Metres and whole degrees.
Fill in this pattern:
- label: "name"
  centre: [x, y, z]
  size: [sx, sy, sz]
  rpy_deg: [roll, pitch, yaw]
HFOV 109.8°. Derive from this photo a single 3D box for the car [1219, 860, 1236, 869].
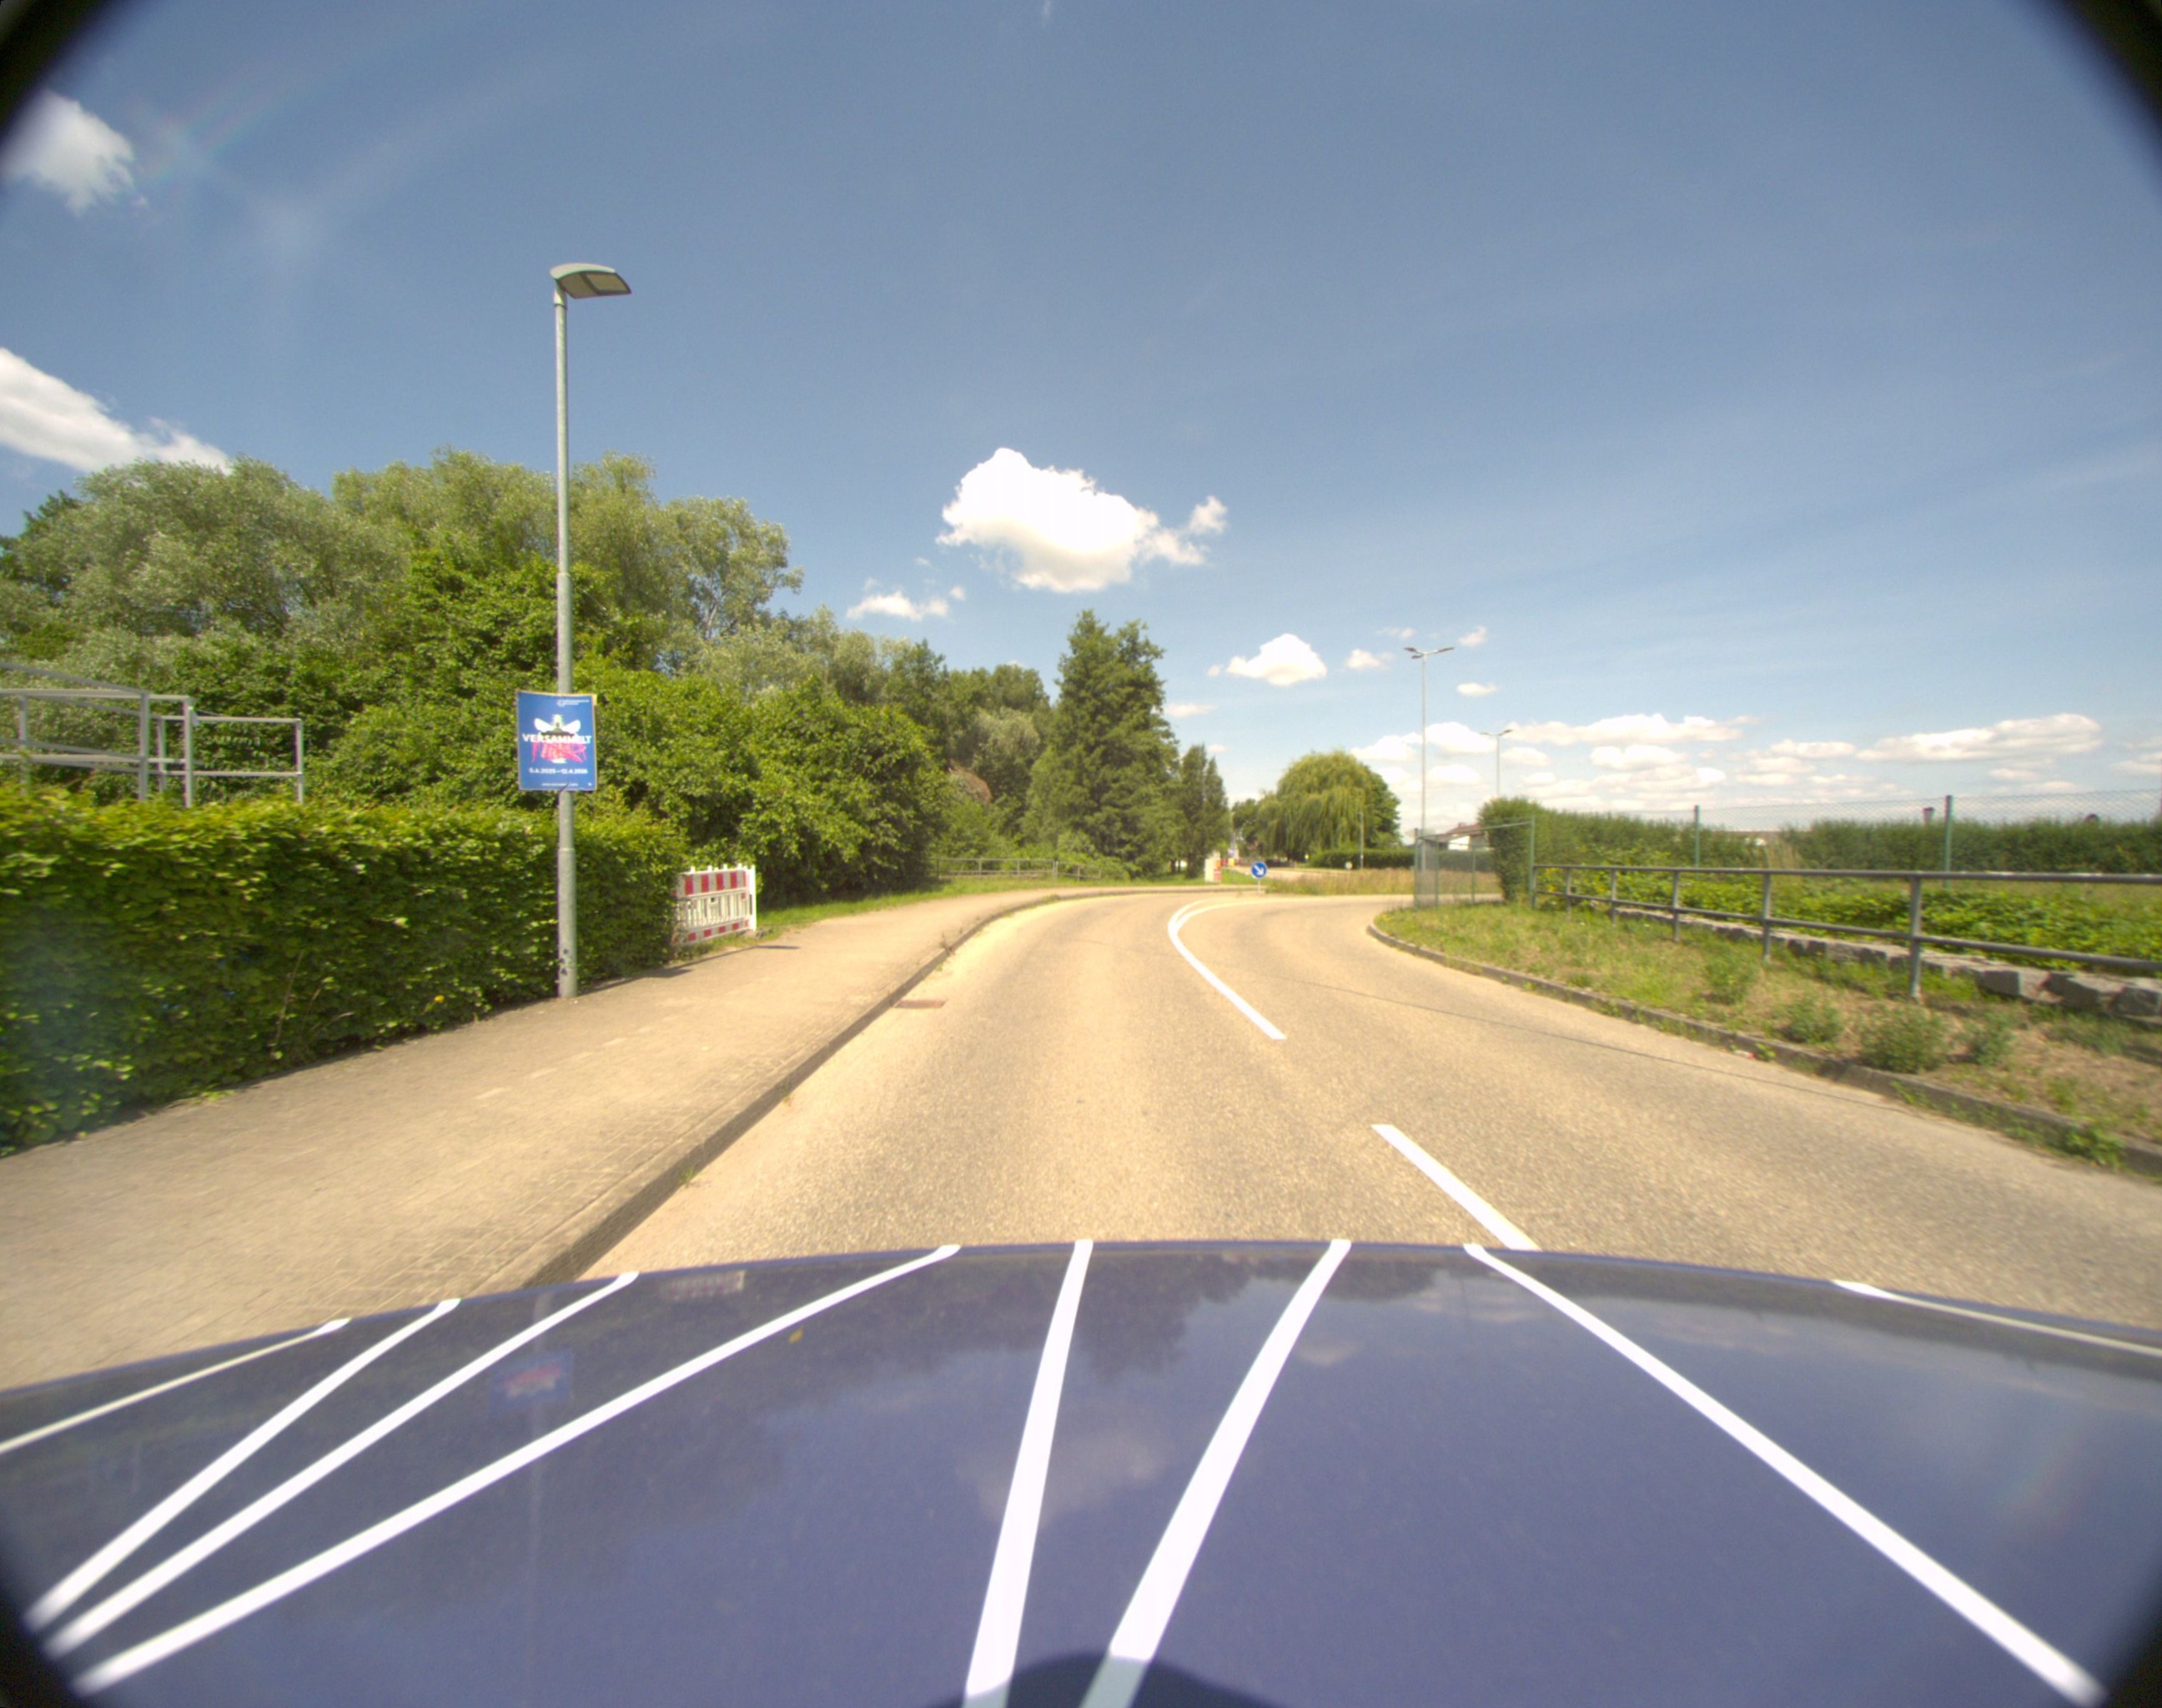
- label: "car"
  centre: [23.674, 1.675, 123.076]
  size: [1.885, 1.455, 4.387]
  rpy_deg: [1, 0, 0]
